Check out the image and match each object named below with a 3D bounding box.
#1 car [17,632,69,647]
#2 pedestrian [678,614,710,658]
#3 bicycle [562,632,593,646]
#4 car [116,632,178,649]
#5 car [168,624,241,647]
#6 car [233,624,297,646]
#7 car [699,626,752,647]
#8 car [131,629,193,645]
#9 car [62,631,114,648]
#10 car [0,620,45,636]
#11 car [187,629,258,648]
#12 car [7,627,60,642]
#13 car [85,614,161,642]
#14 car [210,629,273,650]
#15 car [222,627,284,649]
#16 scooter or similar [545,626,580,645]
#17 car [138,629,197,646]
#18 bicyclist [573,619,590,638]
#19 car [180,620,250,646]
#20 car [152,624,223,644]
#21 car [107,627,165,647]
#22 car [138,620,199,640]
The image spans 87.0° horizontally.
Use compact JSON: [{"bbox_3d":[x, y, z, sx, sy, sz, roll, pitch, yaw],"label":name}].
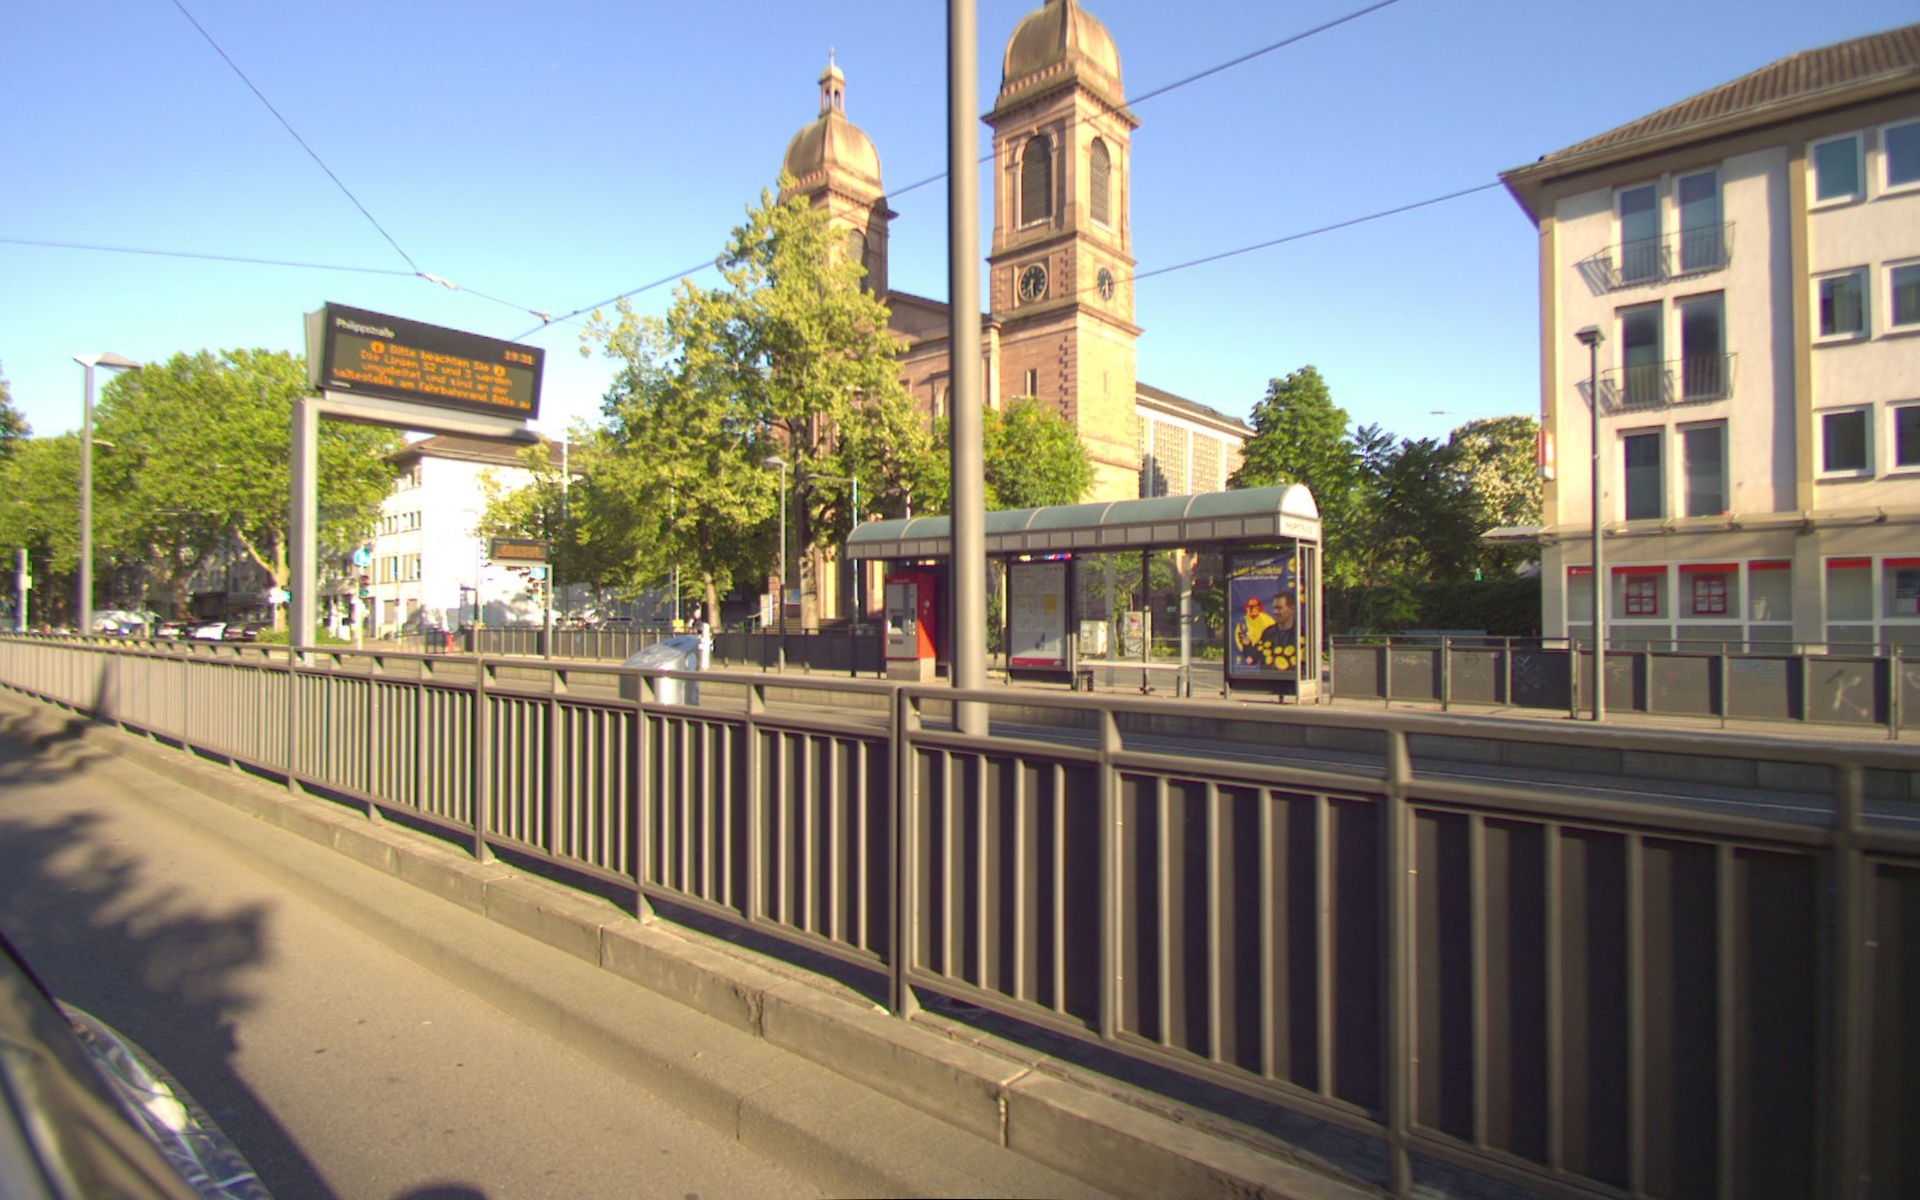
[{"bbox_3d":[-105.669,4.535,116.657,1.981,1.719,3.981,-1,-2,14],"label":"car"},{"bbox_3d":[-10.780,1.448,40.986,0.832,1.773,0.909,0,-1,43],"label":"pedestrian"},{"bbox_3d":[-27.406,2.818,72.513,0.632,0.988,1.962,-2,-3,41],"label":"bicycle"},{"bbox_3d":[-74.539,3.669,92.848,1.985,1.530,3.972,-1,-2,21],"label":"car"},{"bbox_3d":[-57.356,2.689,76.940,2.127,1.697,4.249,0,-2,6],"label":"car"},{"bbox_3d":[-47.593,2.423,69.378,1.747,1.443,3.972,0,-2,-2],"label":"car"},{"bbox_3d":[-17.201,2.685,74.140,3.999,1.409,1.792,-3,-3,42],"label":"car"},{"bbox_3d":[-71.175,3.297,90.341,1.883,1.469,4.250,0,-2,5],"label":"car"},{"bbox_3d":[-95.633,4.319,111.038,1.981,1.830,3.981,-1,-2,14],"label":"car"},{"bbox_3d":[-137.626,4.113,148.575,2.072,2.230,4.942,0,-2,-1],"label":"car"},{"bbox_3d":[-54.670,2.861,75.088,2.123,1.388,4.256,0,-2,1],"label":"car"},{"bbox_3d":[-105.989,3.938,115.790,1.997,1.719,4.183,-2,-3,37],"label":"car"},{"bbox_3d":[-83.690,2.860,101.305,2.161,2.721,5.582,-1,-2,16],"label":"car"},{"bbox_3d":[-52.343,2.867,73.792,1.805,1.516,3.972,0,-2,-2],"label":"car"},{"bbox_3d":[-49.926,2.672,71.585,1.717,1.443,3.972,-1,-2,-2],"label":"car"},{"bbox_3d":[-25.347,2.250,64.498,2.447,1.135,1.082,-1,-2,42],"label":"scooter or similar"},{"bbox_3d":[-68.864,3.272,88.004,1.582,1.470,4.250,0,-2,5],"label":"car"},{"bbox_3d":[-27.204,2.071,72.790,0.632,1.341,0.956,-2,-3,42],"label":"bicyclist"},{"bbox_3d":[-58.951,2.612,80.146,1.508,1.958,4.220,-1,-2,25],"label":"car"},{"bbox_3d":[-61.103,2.714,80.119,1.634,1.569,4.220,-1,-2,25],"label":"car"},{"bbox_3d":[-81.005,3.684,99.556,1.981,1.829,3.981,1,-3,14],"label":"car"},{"bbox_3d":[-66.128,2.481,84.632,1.880,1.626,4.258,0,-1,-1],"label":"car"}]
